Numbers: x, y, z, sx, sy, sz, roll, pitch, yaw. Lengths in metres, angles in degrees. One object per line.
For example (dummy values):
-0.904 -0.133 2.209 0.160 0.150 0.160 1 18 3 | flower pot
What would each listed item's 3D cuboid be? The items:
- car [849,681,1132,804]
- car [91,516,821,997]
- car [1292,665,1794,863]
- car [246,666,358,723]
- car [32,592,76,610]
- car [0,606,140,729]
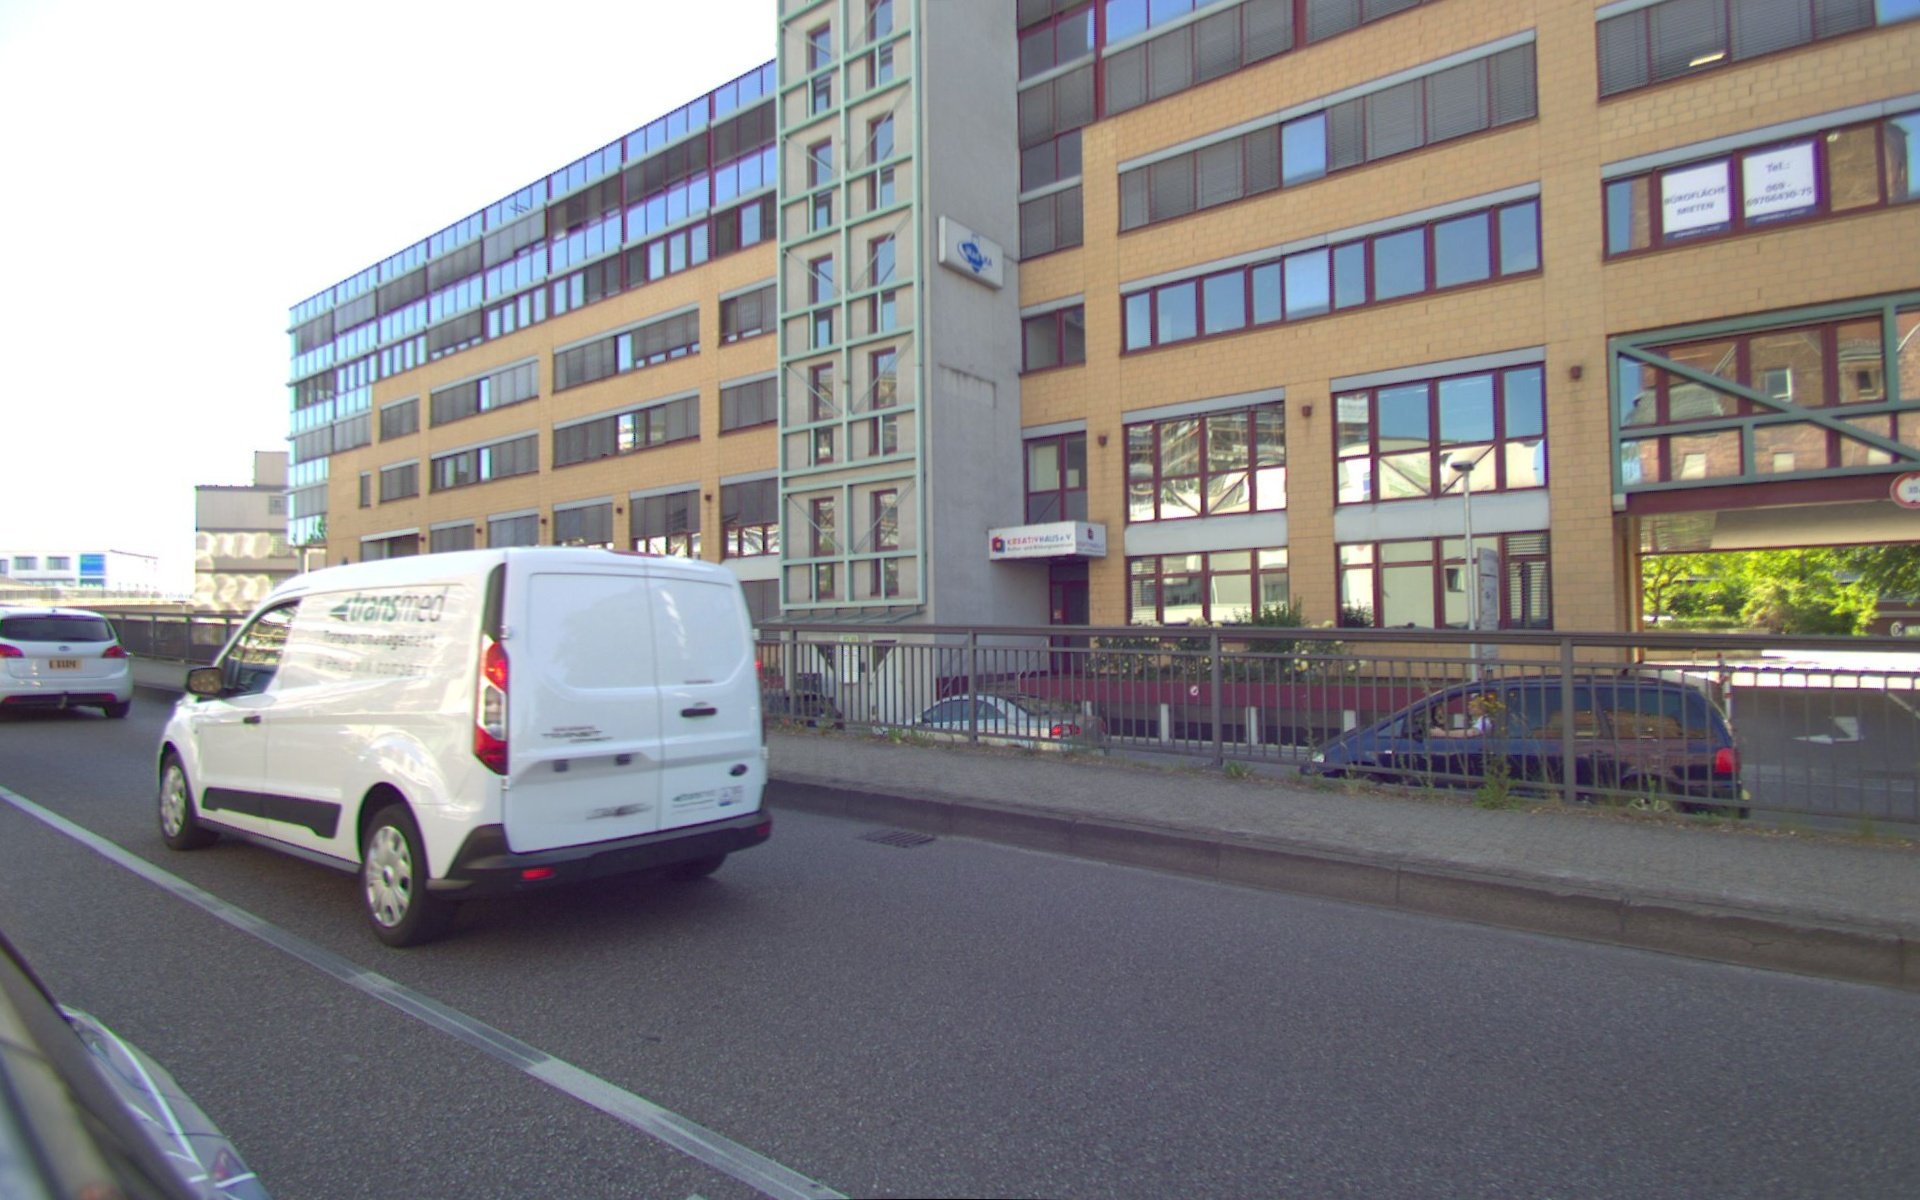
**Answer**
0.412 2.181 16.399 4.349 1.616 1.803 -2 -3 37 | car
-3.304 0.696 6.092 5.110 1.815 1.794 -2 -3 36 | car
6.526 1.689 11.759 4.677 1.771 1.933 -2 -2 36 | car
-21.631 3.055 33.230 3.996 1.675 1.973 -3 -3 40 | car
-87.954 0.126 98.296 1.794 1.616 4.013 0 -1 -19 | car
-13.923 0.949 14.976 3.993 1.616 1.803 -1 -4 37 | car
